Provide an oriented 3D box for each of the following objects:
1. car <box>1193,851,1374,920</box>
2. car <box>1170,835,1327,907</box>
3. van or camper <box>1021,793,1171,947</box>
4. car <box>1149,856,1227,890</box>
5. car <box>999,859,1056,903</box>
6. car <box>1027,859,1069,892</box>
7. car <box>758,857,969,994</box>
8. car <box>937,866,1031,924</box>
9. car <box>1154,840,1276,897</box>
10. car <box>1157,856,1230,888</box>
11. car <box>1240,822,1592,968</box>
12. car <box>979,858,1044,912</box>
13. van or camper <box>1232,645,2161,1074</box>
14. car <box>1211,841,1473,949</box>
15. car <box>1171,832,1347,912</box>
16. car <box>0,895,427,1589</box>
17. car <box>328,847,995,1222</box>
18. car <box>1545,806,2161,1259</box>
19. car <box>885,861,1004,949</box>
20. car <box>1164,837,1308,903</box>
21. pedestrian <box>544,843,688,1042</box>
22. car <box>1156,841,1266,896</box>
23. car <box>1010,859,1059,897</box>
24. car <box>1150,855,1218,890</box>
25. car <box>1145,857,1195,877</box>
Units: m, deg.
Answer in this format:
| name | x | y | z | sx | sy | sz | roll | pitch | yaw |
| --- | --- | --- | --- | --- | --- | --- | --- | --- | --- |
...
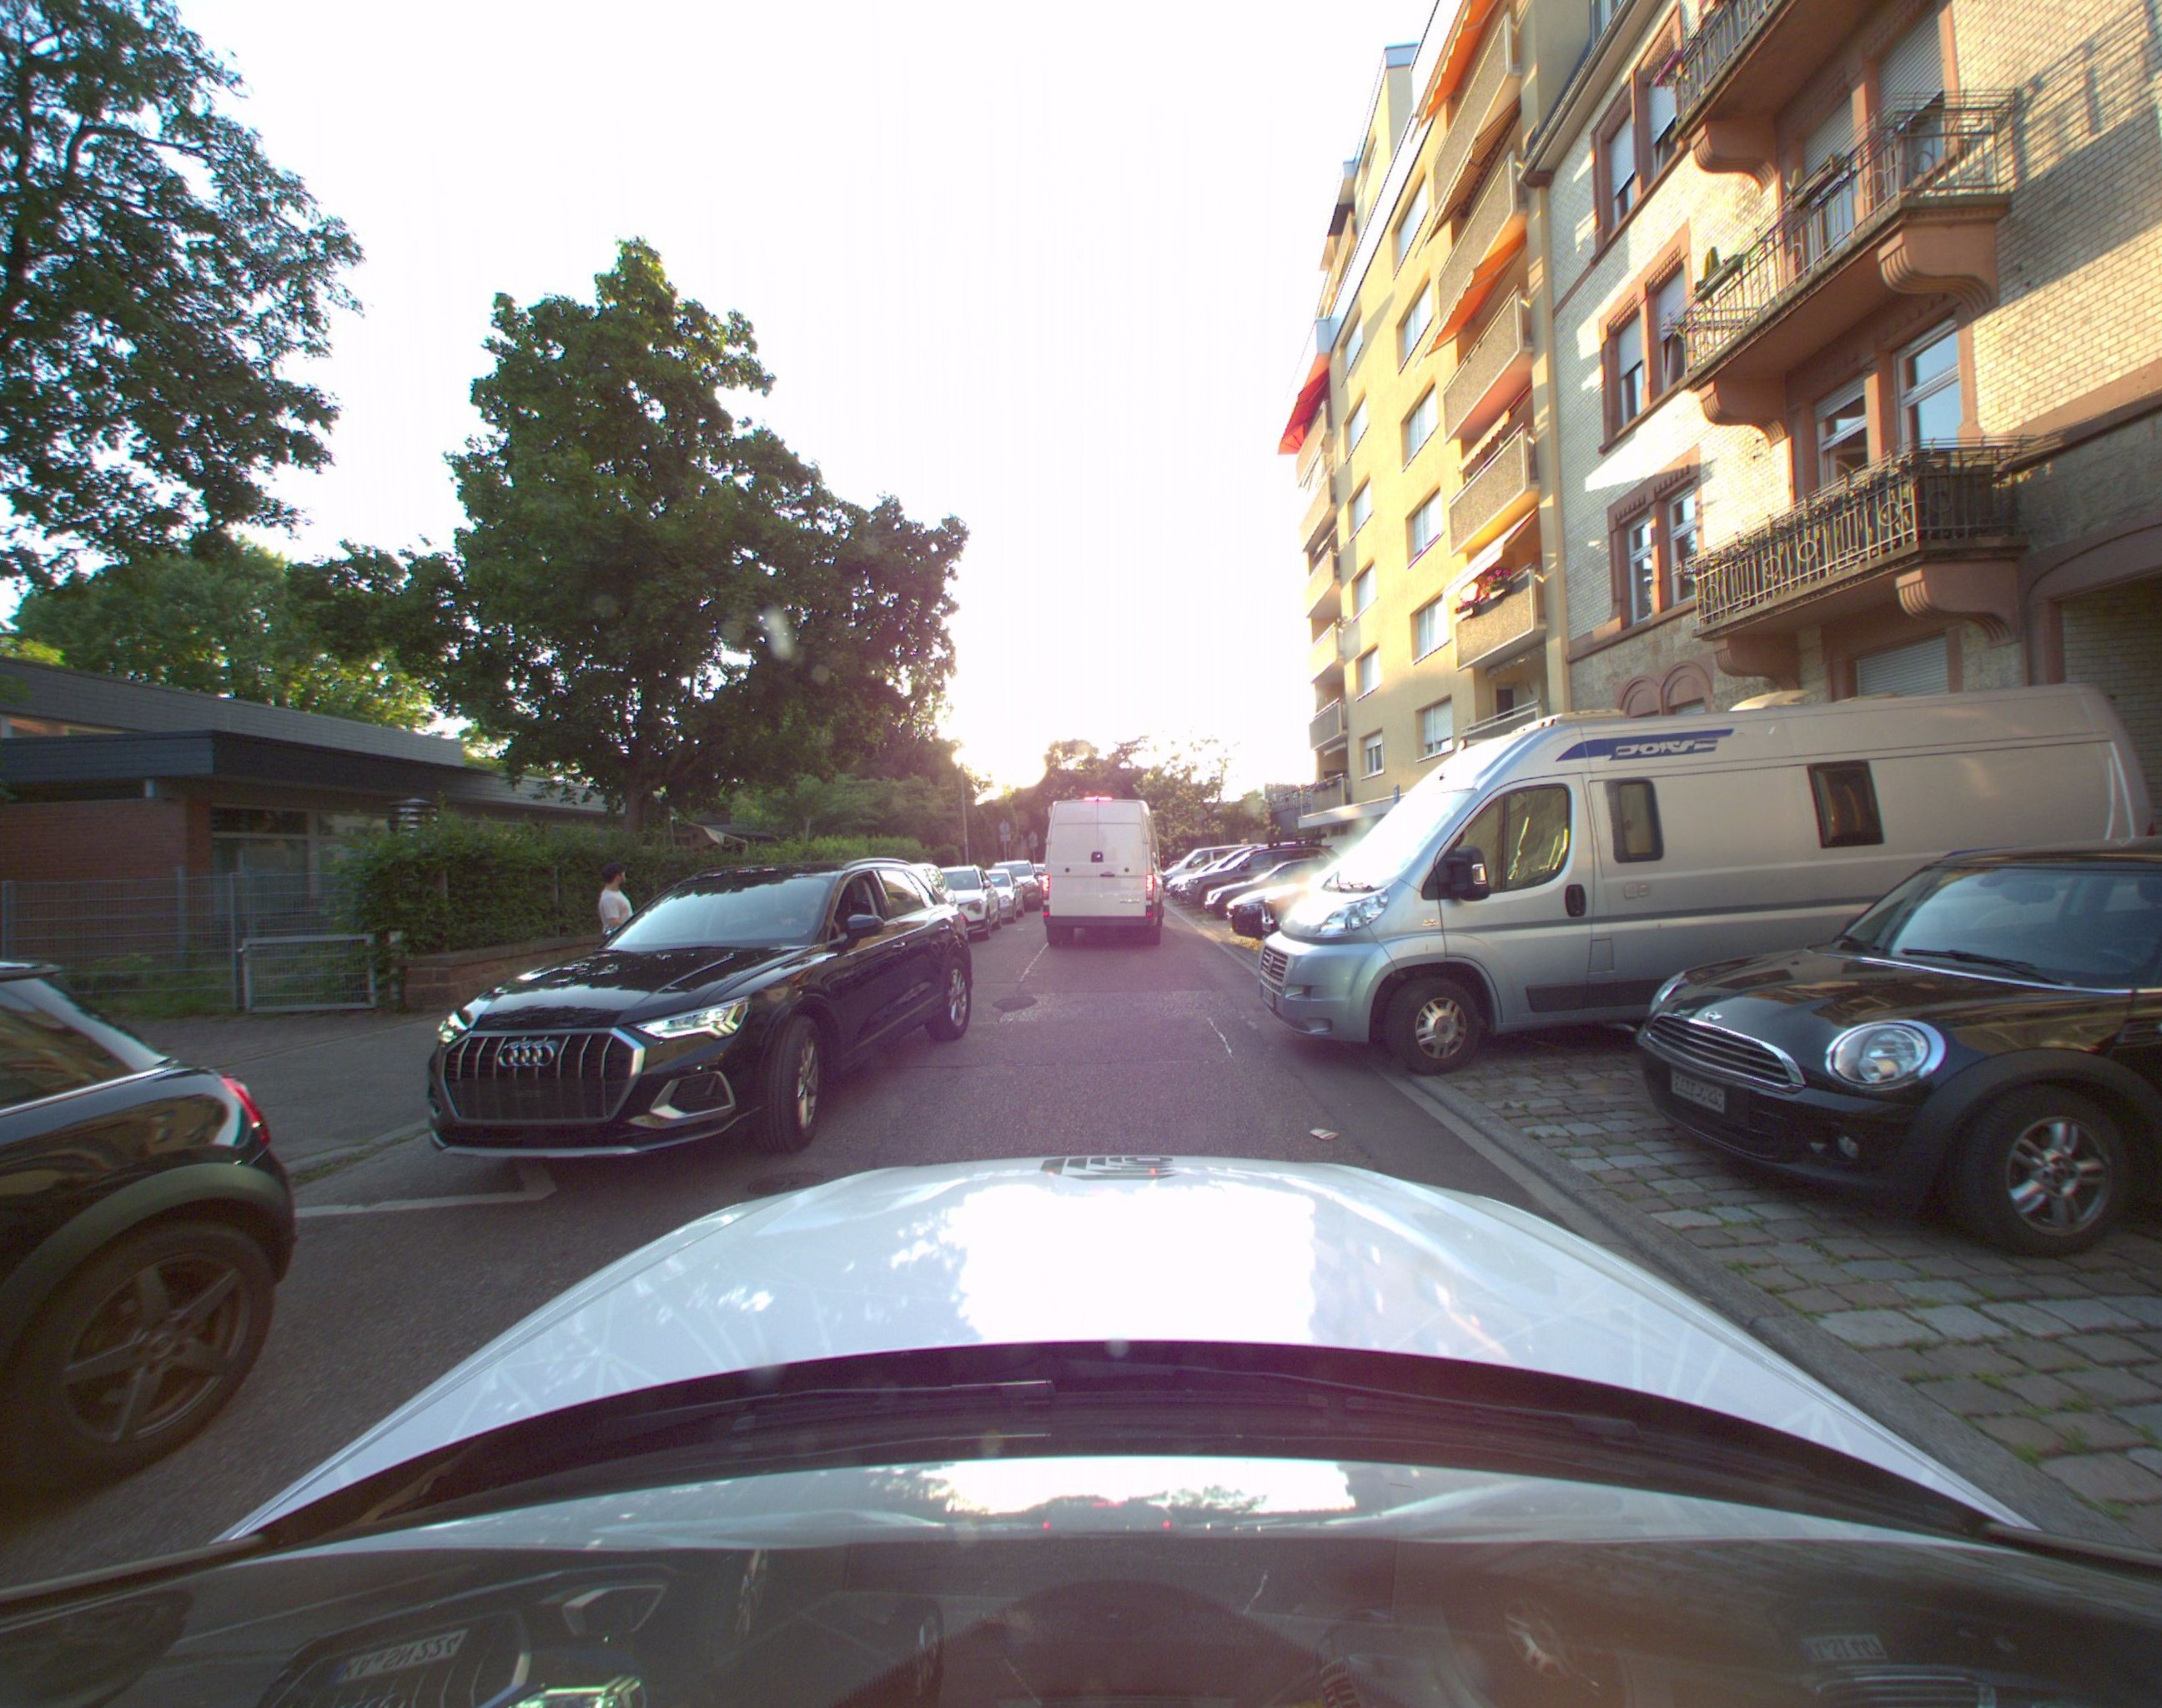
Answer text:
| name | x | y | z | sx | sy | sz | roll | pitch | yaw |
| --- | --- | --- | --- | --- | --- | --- | --- | --- | --- |
| car | 5.153 | 0.796 | 21.152 | 4.222 | 1.425 | 1.719 | -4 | -1 | 1 |
| car | 5.345 | 0.528 | 26.480 | 4.690 | 2.145 | 2.000 | -1 | -1 | 0 |
| van or camper | 0.564 | 0.287 | 16.586 | 2.441 | 2.547 | 6.094 | 0 | 0 | 7 |
| car | 5.667 | 1.013 | 43.637 | 3.971 | 1.728 | 2.001 | -1 | -1 | 2 |
| car | -2.109 | 1.046 | 33.174 | 1.987 | 1.618 | 4.000 | -1 | -1 | 0 |
| car | -1.707 | 1.099 | 43.203 | 1.987 | 1.618 | 4.000 | -1 | -1 | 0 |
| car | -3.058 | 0.931 | 12.390 | 1.775 | 1.631 | 4.004 | -4 | -1 | 4 |
| car | -2.597 | 1.080 | 22.748 | 1.986 | 1.398 | 4.001 | -1 | -1 | 1 |
| car | 5.447 | 0.582 | 33.587 | 4.690 | 2.145 | 2.000 | -1 | -1 | 0 |
| car | 6.390 | 1.033 | 46.661 | 3.971 | 1.728 | 2.001 | -1 | -1 | 2 |
| car | 4.784 | 0.554 | 11.993 | 4.427 | 1.728 | 1.769 | -3 | -1 | -5 |
| car | -2.319 | 1.010 | 27.968 | 1.988 | 1.662 | 3.996 | -1 | -1 | -2 |
| van or camper | 4.373 | 0.043 | 6.549 | 5.908 | 2.770 | 2.110 | -1 | -1 | 0 |
| car | 4.504 | 0.690 | 14.459 | 3.978 | 1.454 | 1.834 | -5 | -1 | -3 |
| car | 5.091 | 0.511 | 23.807 | 4.690 | 2.145 | 2.000 | -1 | -1 | 0 |
| car | -3.279 | 0.922 | 0.924 | 1.630 | 1.478 | 3.995 | -4 | -1 | 3 |
| car | -2.126 | 0.811 | 5.811 | 1.793 | 1.569 | 4.577 | -3 | -1 | 9 |
| car | 4.635 | 0.557 | 3.705 | 3.919 | 1.486 | 1.788 | -5 | -2 | 3 |
| car | -2.814 | 0.993 | 17.652 | 1.850 | 1.555 | 4.098 | -4 | -1 | -1 |
| car | 5.414 | 0.546 | 28.907 | 4.690 | 2.145 | 2.000 | -1 | -1 | 0 |
| pedestrian | -4.539 | 0.828 | 8.003 | 0.934 | 1.830 | 0.787 | -1 | -1 | 0 |
| car | 5.644 | 0.631 | 35.769 | 4.480 | 2.230 | 2.032 | -1 | -1 | 1 |
| car | -2.071 | 1.058 | 37.489 | 1.987 | 1.618 | 4.000 | -1 | -1 | 0 |
| car | 6.174 | 1.090 | 49.162 | 3.970 | 2.014 | 2.002 | -1 | -1 | 3 |
| car | 7.480 | 1.075 | 68.925 | 3.976 | 1.618 | 1.998 | -1 | -1 | -2 |
